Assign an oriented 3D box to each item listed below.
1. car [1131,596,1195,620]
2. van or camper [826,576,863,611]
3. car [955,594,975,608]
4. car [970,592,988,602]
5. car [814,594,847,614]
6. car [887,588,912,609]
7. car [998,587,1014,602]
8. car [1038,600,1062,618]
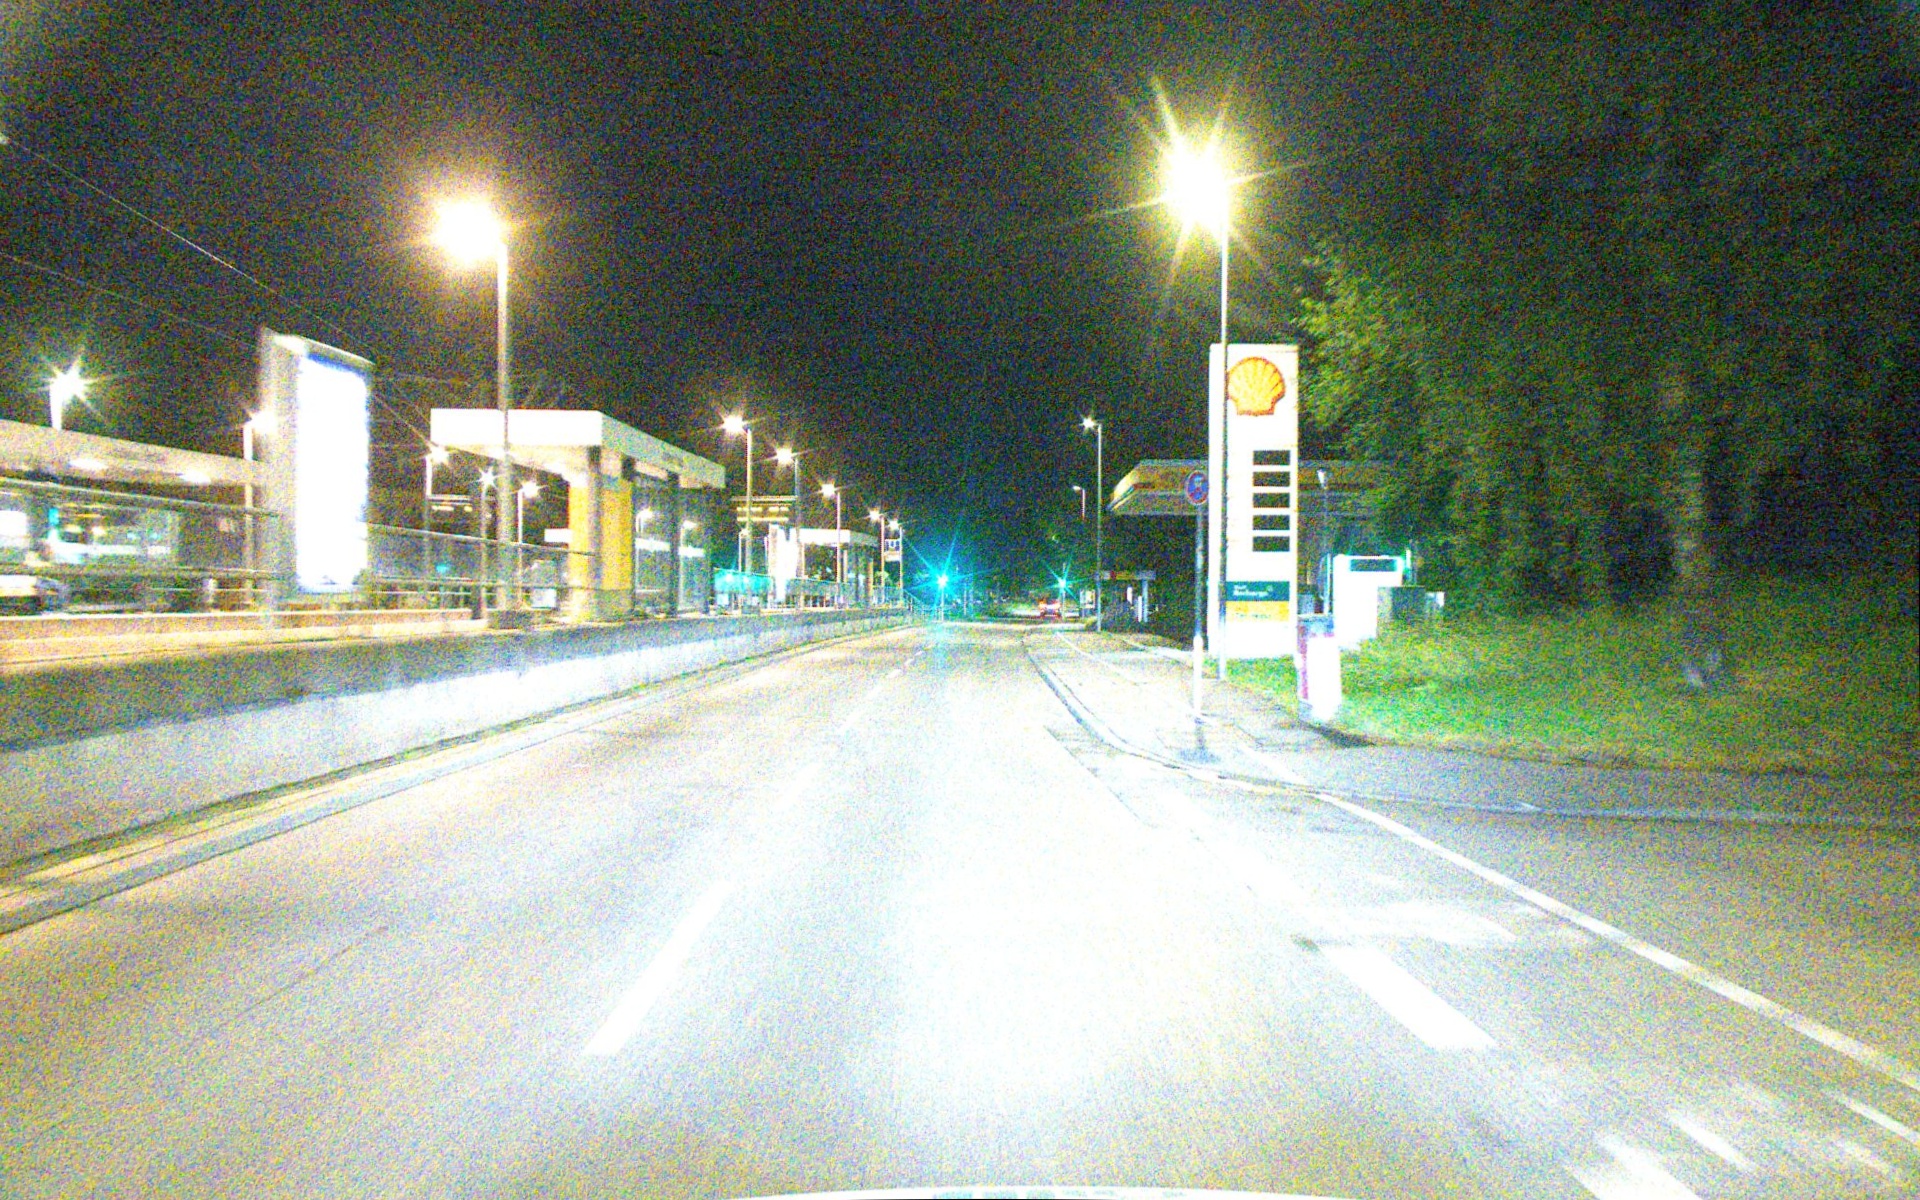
[{"bbox_3d":[11.879,0.461,97.035,3.685,1.378,1.860,0,0,5],"label":"car"},{"bbox_3d":[-9.307,-0.495,133.333,2.225,2.693,5.666,-2,0,3],"label":"van or camper"},{"bbox_3d":[0.596,0.129,208.295,1.951,1.656,4.681,0,0,7],"label":"car"},{"bbox_3d":[2.636,-0.400,227.795,1.951,1.361,5.436,0,0,7],"label":"car"},{"bbox_3d":[-9.926,0.296,126.926,1.611,1.363,4.546,-4,0,6],"label":"car"},{"bbox_3d":[-5.838,-0.132,160.201,1.818,1.937,4.883,1,0,5],"label":"car"},{"bbox_3d":[7.207,-0.861,257.979,2.047,2.048,4.003,-4,0,7],"label":"car"},{"bbox_3d":[8.227,0.788,151.040,2.116,1.610,4.015,1,0,5],"label":"car"}]
